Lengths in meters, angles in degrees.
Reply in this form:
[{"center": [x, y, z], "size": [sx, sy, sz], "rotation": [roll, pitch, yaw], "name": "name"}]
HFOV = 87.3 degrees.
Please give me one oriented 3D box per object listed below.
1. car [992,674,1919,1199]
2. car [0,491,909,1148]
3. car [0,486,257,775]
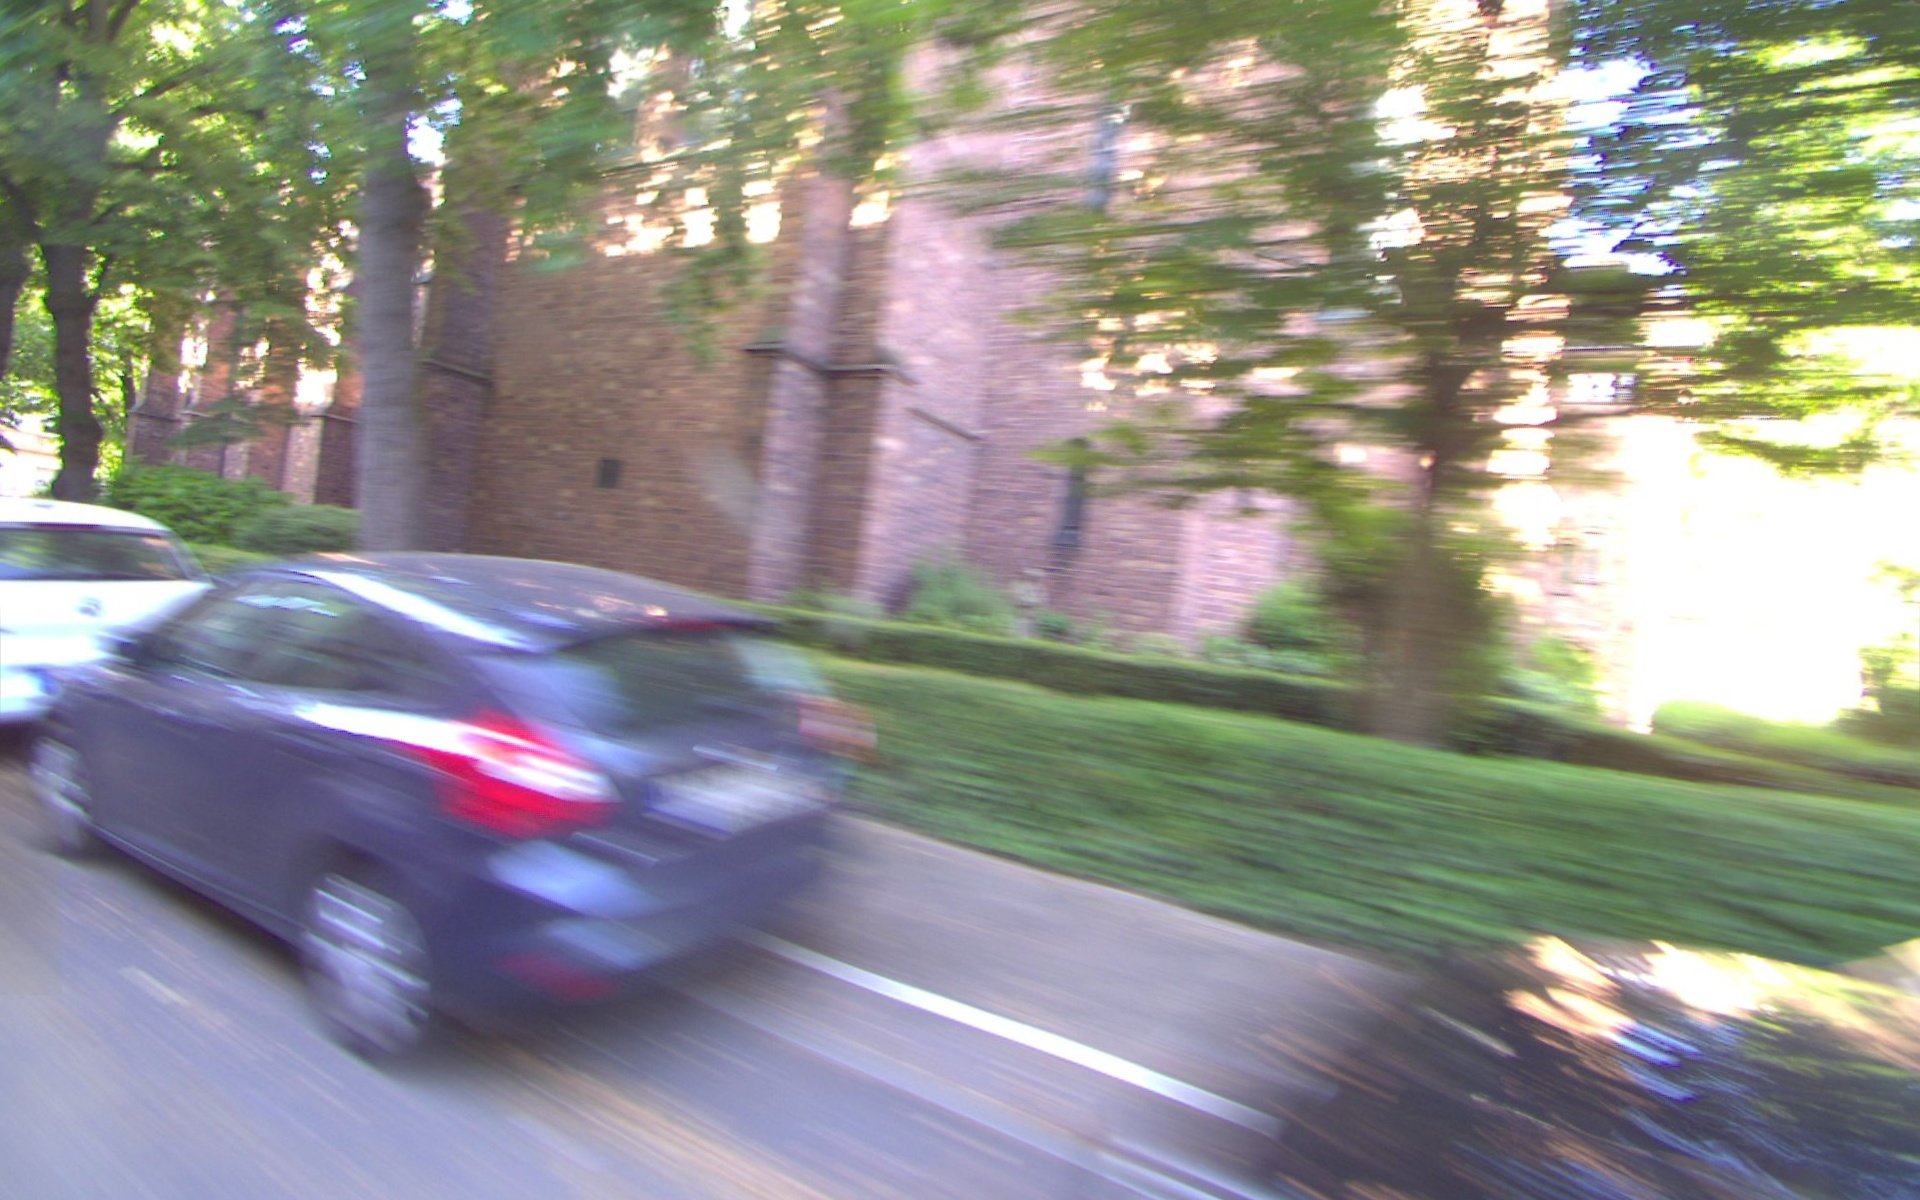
[{"center": [2.124, 1.060, 1.031], "size": [3.935, 1.454, 1.623], "rotation": [6, 1, 30], "name": "car"}, {"center": [-2.359, 0.446, 4.287], "size": [3.994, 1.541, 1.663], "rotation": [6, 4, 33], "name": "car"}, {"center": [-6.631, 0.008, 6.735], "size": [3.885, 1.541, 1.664], "rotation": [6, 4, 30], "name": "car"}]
